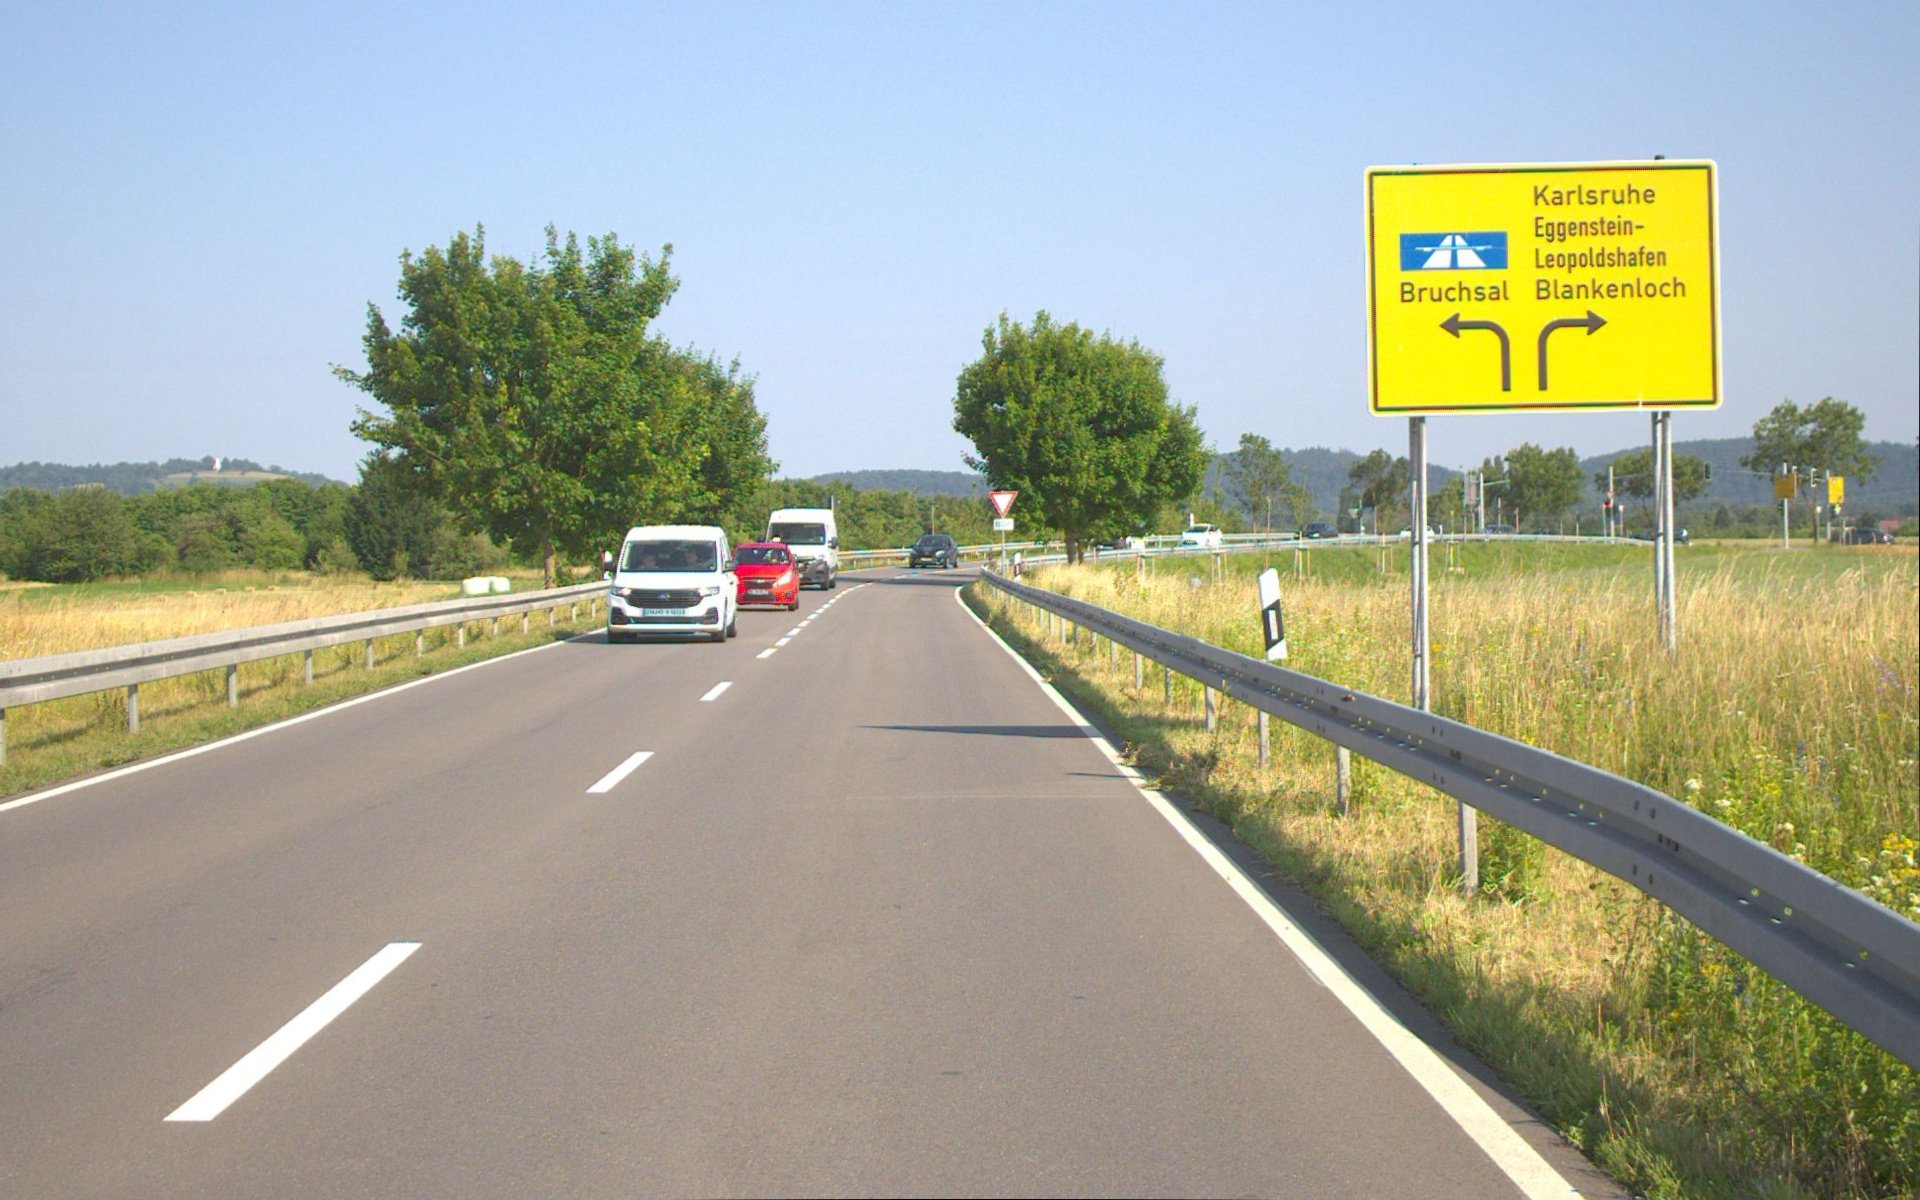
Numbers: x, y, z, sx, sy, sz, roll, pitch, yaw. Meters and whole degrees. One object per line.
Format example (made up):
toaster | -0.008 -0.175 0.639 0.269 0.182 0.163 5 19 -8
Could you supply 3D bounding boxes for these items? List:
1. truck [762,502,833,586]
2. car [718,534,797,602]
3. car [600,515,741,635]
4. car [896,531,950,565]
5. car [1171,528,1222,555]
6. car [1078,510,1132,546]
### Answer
truck | -4.986 -1.745 106.173 1.993 2.511 6.244 0 1 -1
car | -4.516 -0.746 77.089 1.606 1.483 3.780 0 1 -1
car | -4.473 -0.429 53.700 1.836 1.780 4.435 -1 1 0
car | -1.610 -2.281 149.819 1.645 1.466 3.805 1 1 10
car | 13.976 -3.444 202.649 1.904 1.527 4.587 1 1 18
car | 7.905 -3.906 186.946 1.995 1.878 4.588 1 1 15
